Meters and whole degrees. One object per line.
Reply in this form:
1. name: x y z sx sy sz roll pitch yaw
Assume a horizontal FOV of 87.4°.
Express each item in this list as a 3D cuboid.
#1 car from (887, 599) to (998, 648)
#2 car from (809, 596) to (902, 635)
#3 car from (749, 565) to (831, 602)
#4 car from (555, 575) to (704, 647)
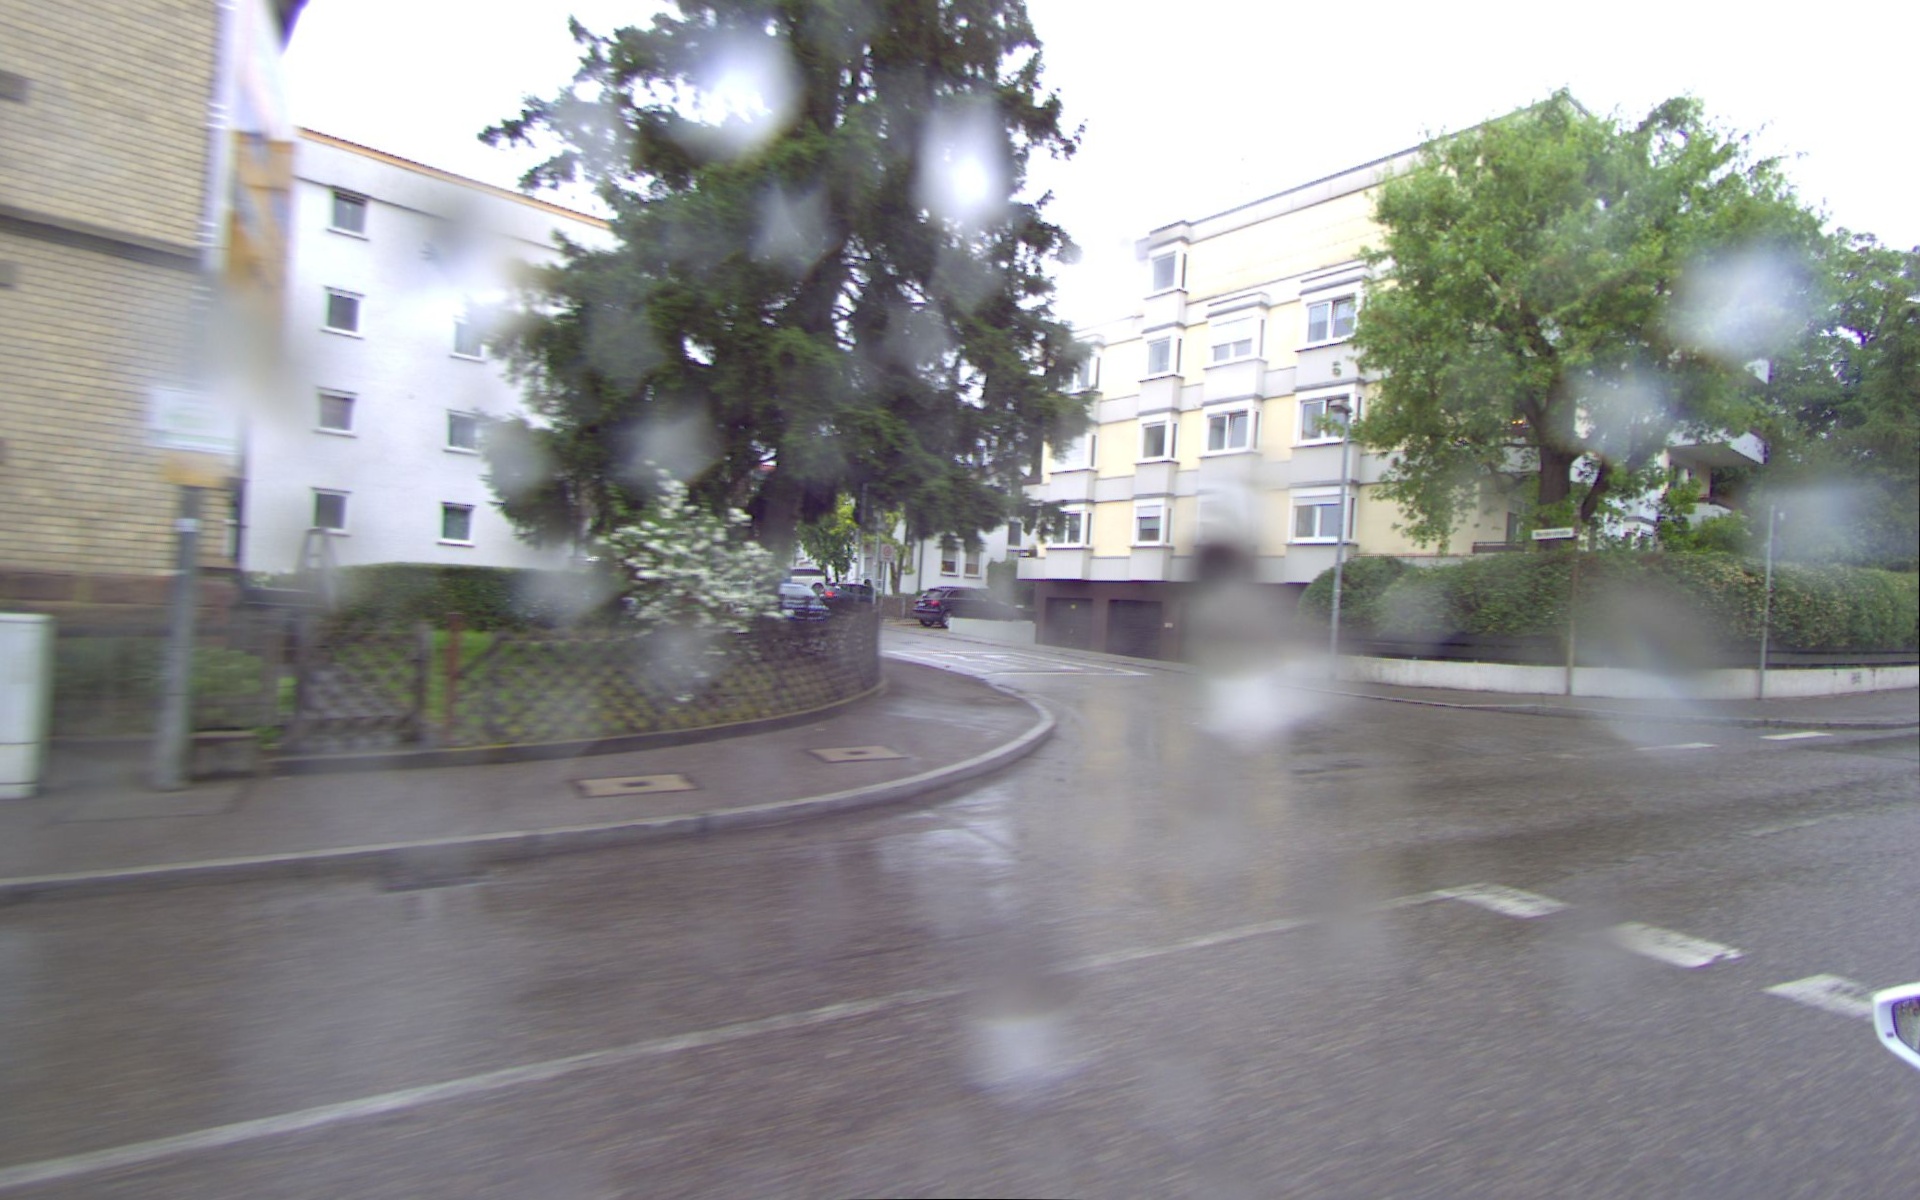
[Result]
1. car: -0.710 0.923 40.064 3.952 1.832 1.984 1 1 -30
2. car: -5.019 0.767 48.309 3.952 1.750 1.984 1 1 -30
3. car: -10.856 -1.045 64.172 4.833 2.180 1.987 1 1 -26
4. car: -8.742 0.296 26.603 3.352 1.789 1.805 1 0 -37
